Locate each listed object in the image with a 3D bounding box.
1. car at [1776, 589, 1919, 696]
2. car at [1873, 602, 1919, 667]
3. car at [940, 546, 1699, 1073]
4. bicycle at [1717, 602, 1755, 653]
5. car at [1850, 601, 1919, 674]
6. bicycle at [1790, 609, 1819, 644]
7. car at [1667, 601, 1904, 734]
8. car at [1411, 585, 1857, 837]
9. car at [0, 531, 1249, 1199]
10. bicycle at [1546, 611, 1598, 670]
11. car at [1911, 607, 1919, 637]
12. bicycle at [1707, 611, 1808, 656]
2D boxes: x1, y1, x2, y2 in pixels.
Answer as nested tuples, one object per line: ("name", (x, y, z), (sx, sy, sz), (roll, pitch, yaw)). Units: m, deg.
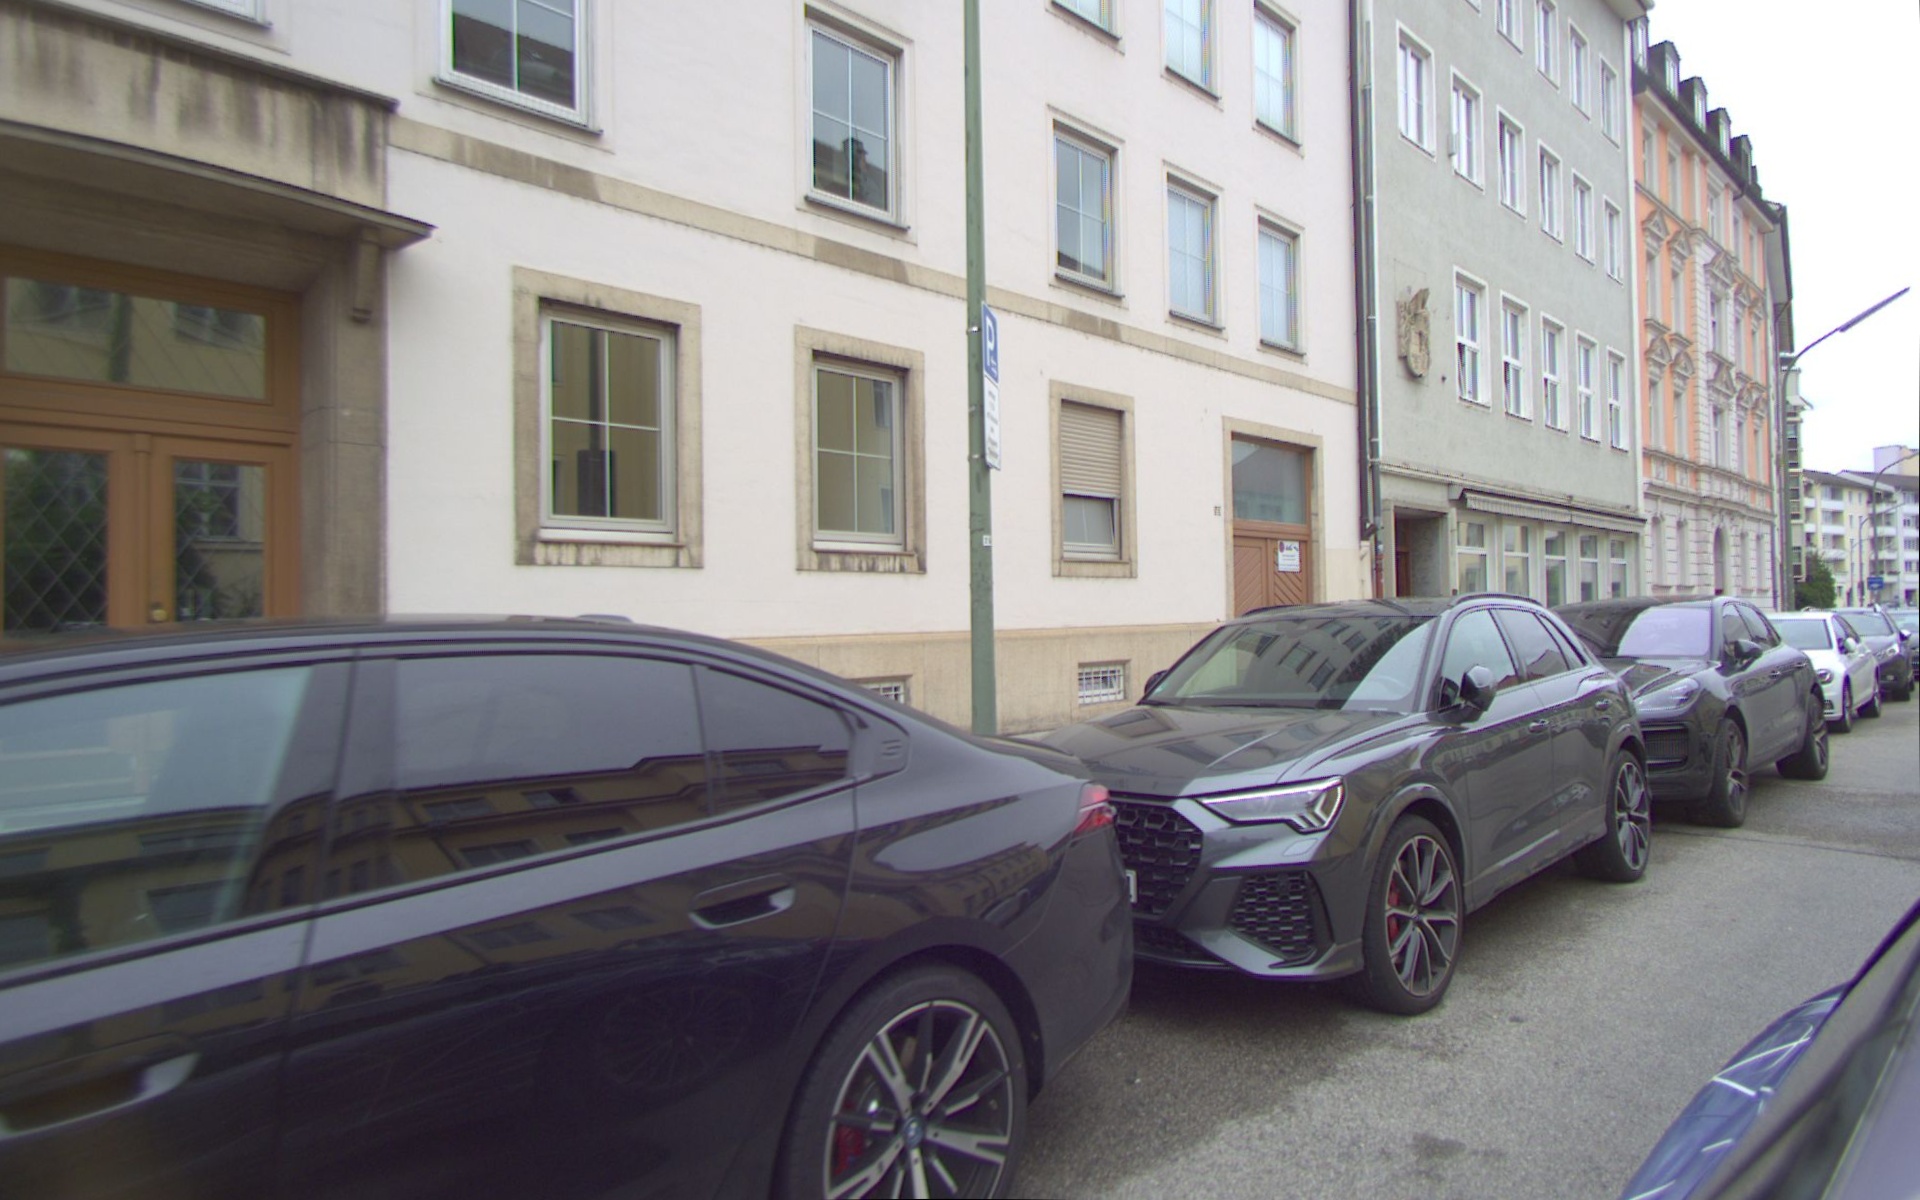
("car", (15.506, 0.690, 17.463), (4.290, 1.613, 1.706), (0, -3, -45))
("car", (24.037, 0.814, 25.181), (4.079, 1.520, 1.687), (0, -3, -45))
("car", (2.184, 0.672, 5.259), (4.554, 1.610, 1.647), (0, -3, -42))
("bicycle", (21.765, 0.751, 28.379), (0.596, 1.403, 2.058), (-1, -1, 45))
("car", (20.560, 0.748, 21.630), (4.287, 1.420, 1.690), (0, -1, -41))
("bicycle", (28.427, 0.887, 34.066), (0.722, 1.126, 1.966), (-1, -1, 40))
("car", (10.996, 0.790, 13.369), (4.452, 1.447, 1.674), (0, -2, -42))
("car", (5.775, 0.695, 8.418), (4.626, 1.542, 1.842), (0, -2, -41))
("car", (-1.716, 0.724, 1.876), (5.229, 1.504, 1.804), (0, -4, -43))
("bicycle", (12.710, 0.811, 20.997), (1.916, 1.172, 0.384), (0, -1, -43))
("car", (48.309, 1.052, 49.794), (1.851, 1.432, 4.942), (-2, -1, 40))
("bicycle", (20.784, 0.872, 26.394), (2.055, 1.153, 0.583), (0, -1, 5))
